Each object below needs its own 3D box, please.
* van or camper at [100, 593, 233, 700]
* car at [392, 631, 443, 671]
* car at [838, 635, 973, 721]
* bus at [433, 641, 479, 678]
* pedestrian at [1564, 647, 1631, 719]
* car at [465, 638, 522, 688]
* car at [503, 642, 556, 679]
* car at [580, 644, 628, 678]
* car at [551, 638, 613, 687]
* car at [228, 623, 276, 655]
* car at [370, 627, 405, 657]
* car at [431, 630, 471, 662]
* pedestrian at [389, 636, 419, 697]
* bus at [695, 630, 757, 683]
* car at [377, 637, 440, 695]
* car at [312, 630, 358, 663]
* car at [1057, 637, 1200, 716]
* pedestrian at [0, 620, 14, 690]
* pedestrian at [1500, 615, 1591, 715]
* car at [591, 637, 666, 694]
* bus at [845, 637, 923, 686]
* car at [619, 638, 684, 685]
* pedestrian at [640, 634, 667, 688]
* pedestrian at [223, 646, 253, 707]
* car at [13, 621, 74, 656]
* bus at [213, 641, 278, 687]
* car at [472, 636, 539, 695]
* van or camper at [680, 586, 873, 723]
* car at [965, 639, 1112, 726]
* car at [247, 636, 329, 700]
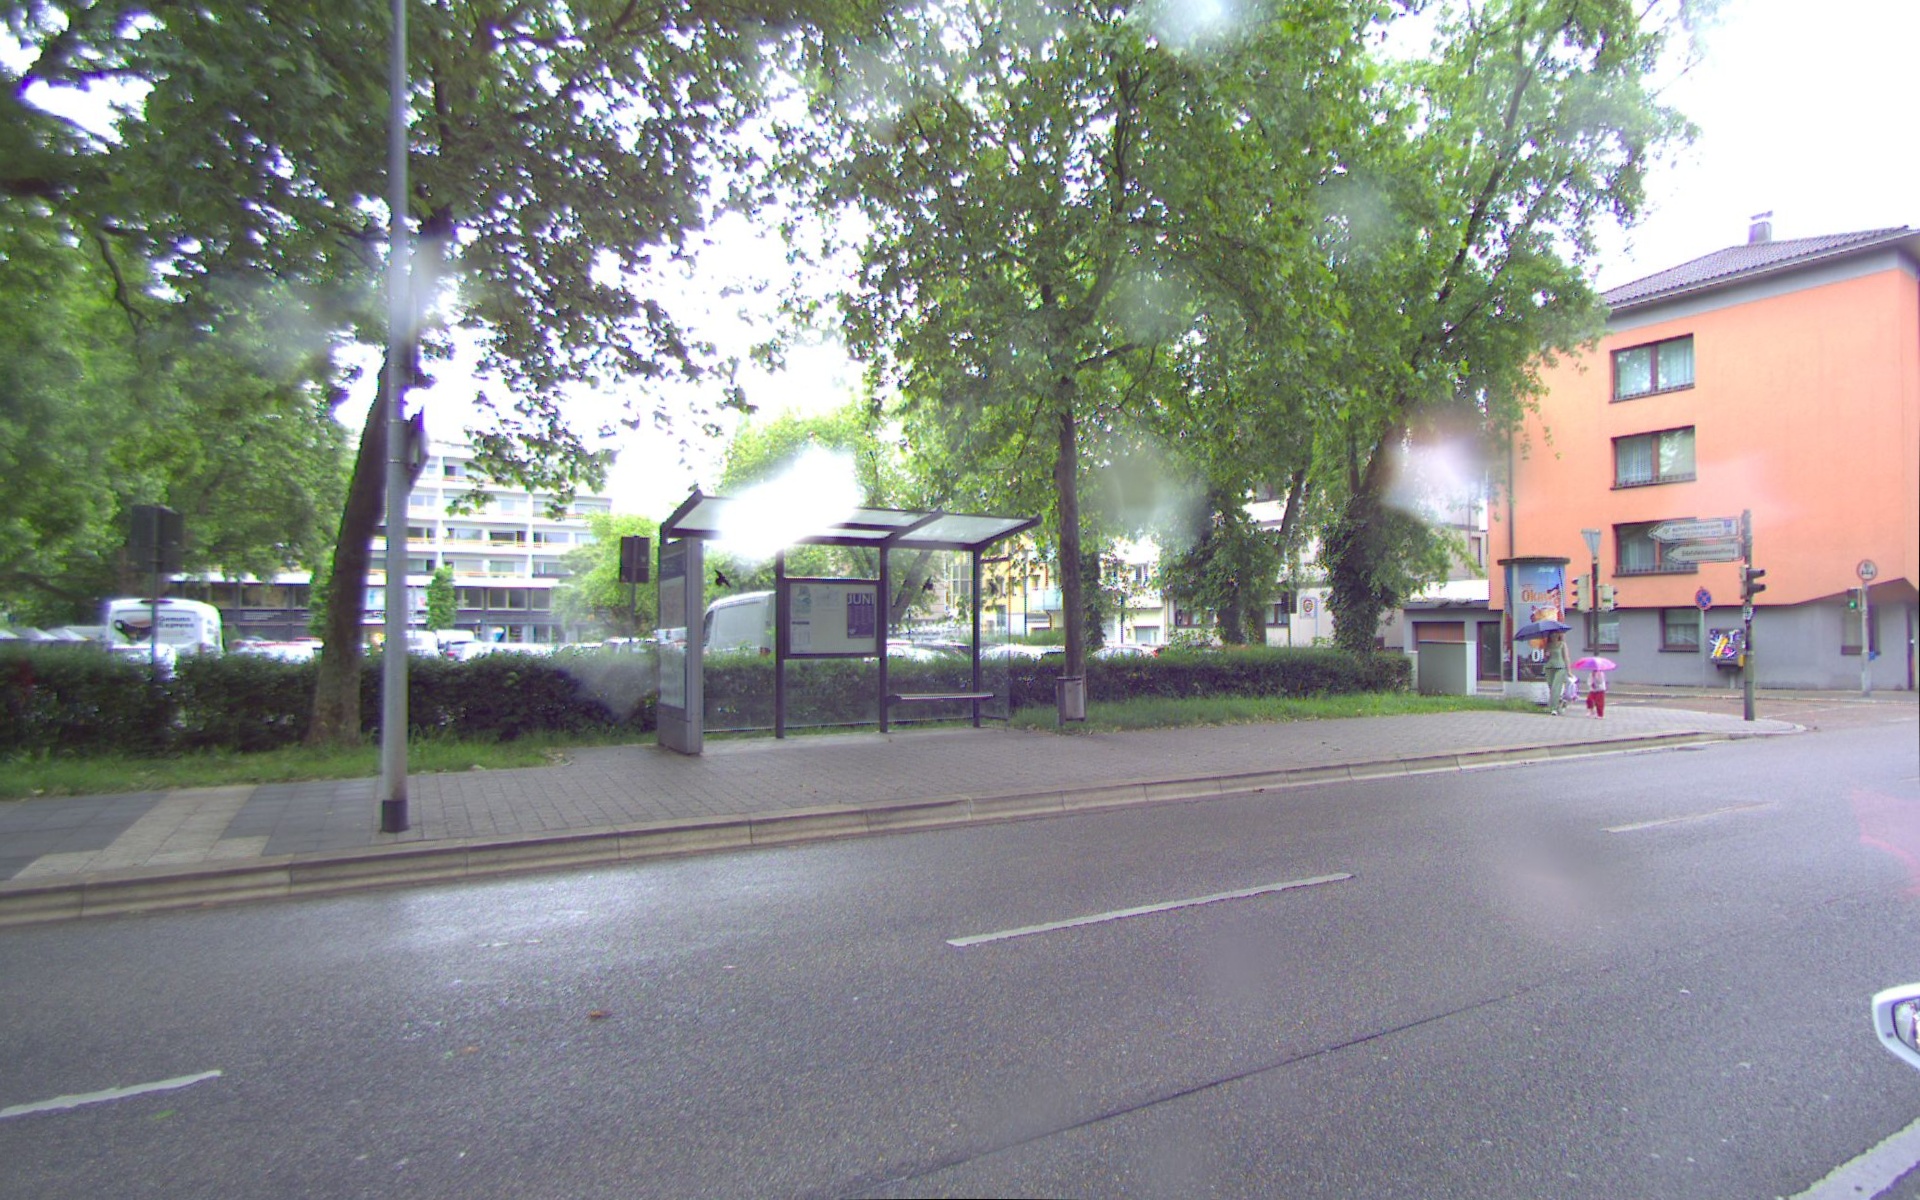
[{"bbox_3d":[-20.700,1.219,26.417,2.074,2.570,4.391,1,-3,-30],"label":"van or camper"},{"bbox_3d":[-20.903,1.949,38.682,1.587,1.447,3.293,2,-3,-30],"label":"car"},{"bbox_3d":[-1.213,1.576,21.182,1.492,1.544,3.174,2,0,-32],"label":"car"},{"bbox_3d":[-22.374,2.614,44.565,1.587,1.559,3.403,2,-3,-30],"label":"bus"},{"bbox_3d":[11.179,1.438,17.611,0.817,1.190,0.681,1,0,-30],"label":"pedestrian"},{"bbox_3d":[-14.544,1.933,31.275,1.375,1.454,3.248,1,-3,-29],"label":"car"},{"bbox_3d":[-17.698,2.457,41.232,1.587,1.447,3.293,2,-3,-30],"label":"car"},{"bbox_3d":[-15.199,2.583,42.823,1.332,1.401,3.141,2,-3,-30],"label":"car"},{"bbox_3d":[-11.960,1.941,31.676,1.375,1.454,3.248,1,-3,-29],"label":"car"},{"bbox_3d":[-33.717,1.862,47.902,1.587,1.447,3.293,2,-3,-30],"label":"car"},{"bbox_3d":[-33.046,2.405,57.909,1.622,1.544,3.174,1,1,-32],"label":"car"},{"bbox_3d":[-27.351,2.457,53.961,1.622,1.544,3.174,2,0,-32],"label":"car"},{"bbox_3d":[-11.637,1.386,21.022,0.462,1.229,0.434,2,0,-37],"label":"pedestrian"},{"bbox_3d":[-7.832,1.868,33.517,1.363,1.698,2.779,1,-3,-28],"label":"bus"},{"bbox_3d":[-14.735,1.726,26.845,1.375,1.454,3.248,1,-3,-29],"label":"car"},{"bbox_3d":[-31.423,2.317,50.578,1.818,1.444,3.799,2,0,-31],"label":"car"},{"bbox_3d":[3.803,1.685,23.036,1.492,1.544,3.174,2,0,-32],"label":"car"},{"bbox_3d":[-17.322,0.980,17.983,0.481,1.229,0.434,2,0,-37],"label":"pedestrian"},{"bbox_3d":[10.873,1.187,18.672,1.195,1.765,0.987,1,0,-30],"label":"pedestrian"},{"bbox_3d":[-9.113,1.758,27.499,1.375,1.454,3.248,1,-3,-29],"label":"car"},{"bbox_3d":[-2.419,1.904,31.464,1.364,1.451,2.777,2,-3,-30],"label":"bus"},{"bbox_3d":[-9.995,1.960,32.469,1.375,1.454,3.248,1,-3,-29],"label":"car"},{"bbox_3d":[-7.274,1.443,23.851,0.462,1.229,0.434,2,0,-37],"label":"pedestrian"},{"bbox_3d":[-14.939,1.574,20.779,0.462,1.229,0.434,2,0,-37],"label":"pedestrian"},{"bbox_3d":[-40.865,1.697,44.844,1.412,1.447,2.941,1,0,-30],"label":"car"},{"bbox_3d":[-25.551,2.275,36.010,1.587,1.559,3.403,2,-3,-30],"label":"bus"},{"bbox_3d":[-12.092,1.713,26.643,1.375,1.454,3.248,1,-3,-29],"label":"car"},{"bbox_3d":[-3.530,0.991,18.626,2.026,2.198,4.458,2,-3,-32],"label":"van or camper"},{"bbox_3d":[1.582,1.661,21.165,1.492,1.544,3.174,2,0,-32],"label":"car"},{"bbox_3d":[-16.513,1.640,24.785,1.375,1.454,3.248,1,-3,-29],"label":"car"}]
